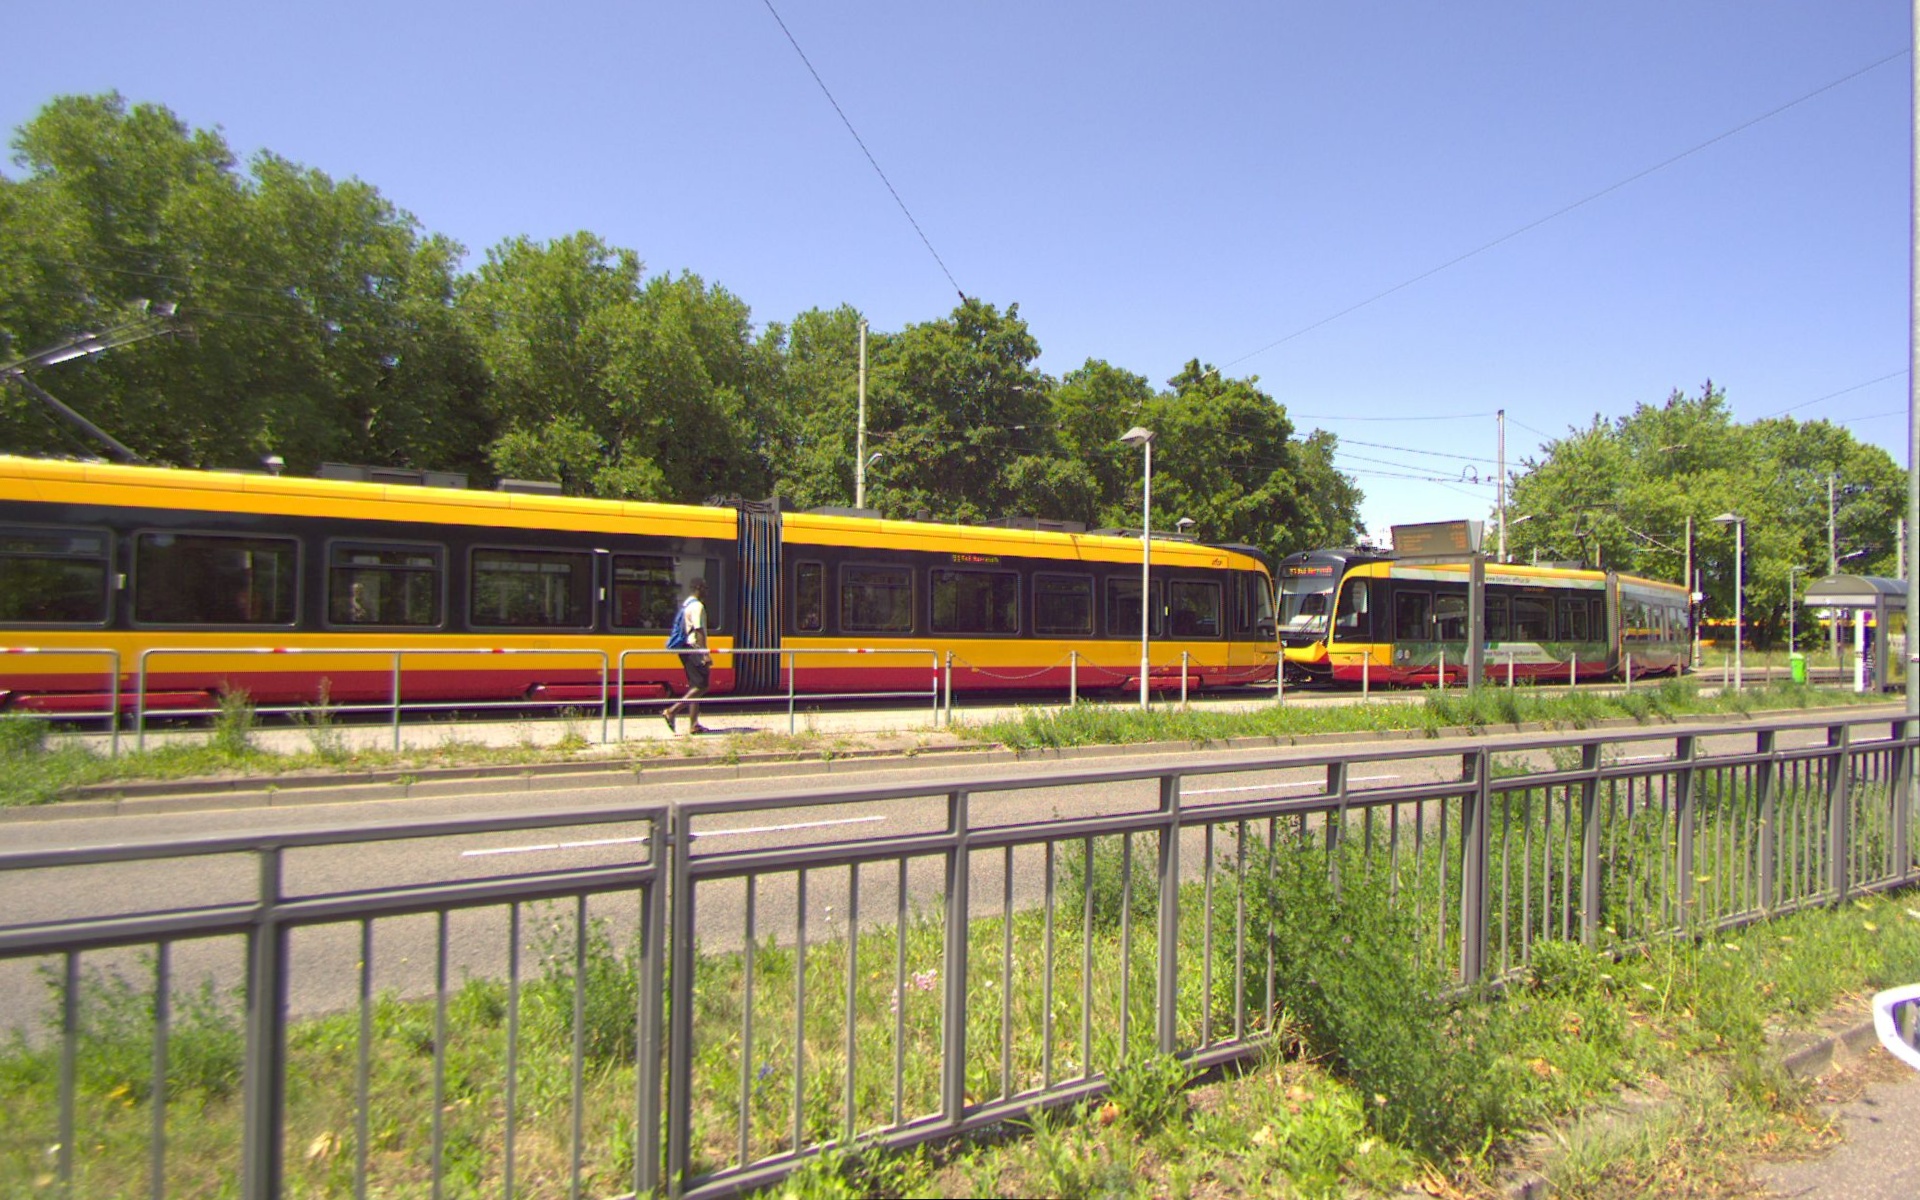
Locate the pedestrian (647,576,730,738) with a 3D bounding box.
[{"bbox_3d":[-3.160,0.640,11.687,0.767,1.815,0.629,1,0,-30],"label":"pedestrian"}]

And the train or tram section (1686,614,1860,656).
[{"bbox_3d":[79.808,3.361,98.948,13.074,3.512,3.030,2,0,42],"label":"train or tram section"}]

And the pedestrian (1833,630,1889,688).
[{"bbox_3d":[25.549,1.662,28.485,0.974,1.567,0.926,1,0,-31],"label":"pedestrian"}]

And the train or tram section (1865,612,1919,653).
[{"bbox_3d":[86.148,2.966,86.004,3.005,3.512,12.671,1,0,-25],"label":"train or tram section"}]

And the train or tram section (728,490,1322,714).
[{"bbox_3d":[1.929,0.175,21.570,13.098,3.817,3.031,2,0,-29],"label":"train or tram section"}]

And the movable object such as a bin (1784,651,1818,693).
[{"bbox_3d":[20.554,1.755,24.558,0.638,0.991,0.478,2,-1,-33],"label":"movable object such as a bin"}]

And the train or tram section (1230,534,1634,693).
[{"bbox_3d":[13.635,0.452,28.061,13.737,3.673,3.028,2,0,-31],"label":"train or tram section"}]

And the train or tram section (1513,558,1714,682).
[{"bbox_3d":[23.234,0.696,35.227,12.363,3.673,3.015,2,0,-43],"label":"train or tram section"}]

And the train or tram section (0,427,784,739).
[{"bbox_3d":[-9.182,-0.135,15.395,12.443,3.791,3.030,2,0,-29],"label":"train or tram section"}]

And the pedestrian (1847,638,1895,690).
[{"bbox_3d":[23.820,1.673,26.272,0.830,1.300,0.697,1,0,-31],"label":"pedestrian"}]

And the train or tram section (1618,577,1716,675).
[{"bbox_3d":[30.828,1.058,44.137,3.002,3.673,12.416,2,0,34],"label":"train or tram section"}]
